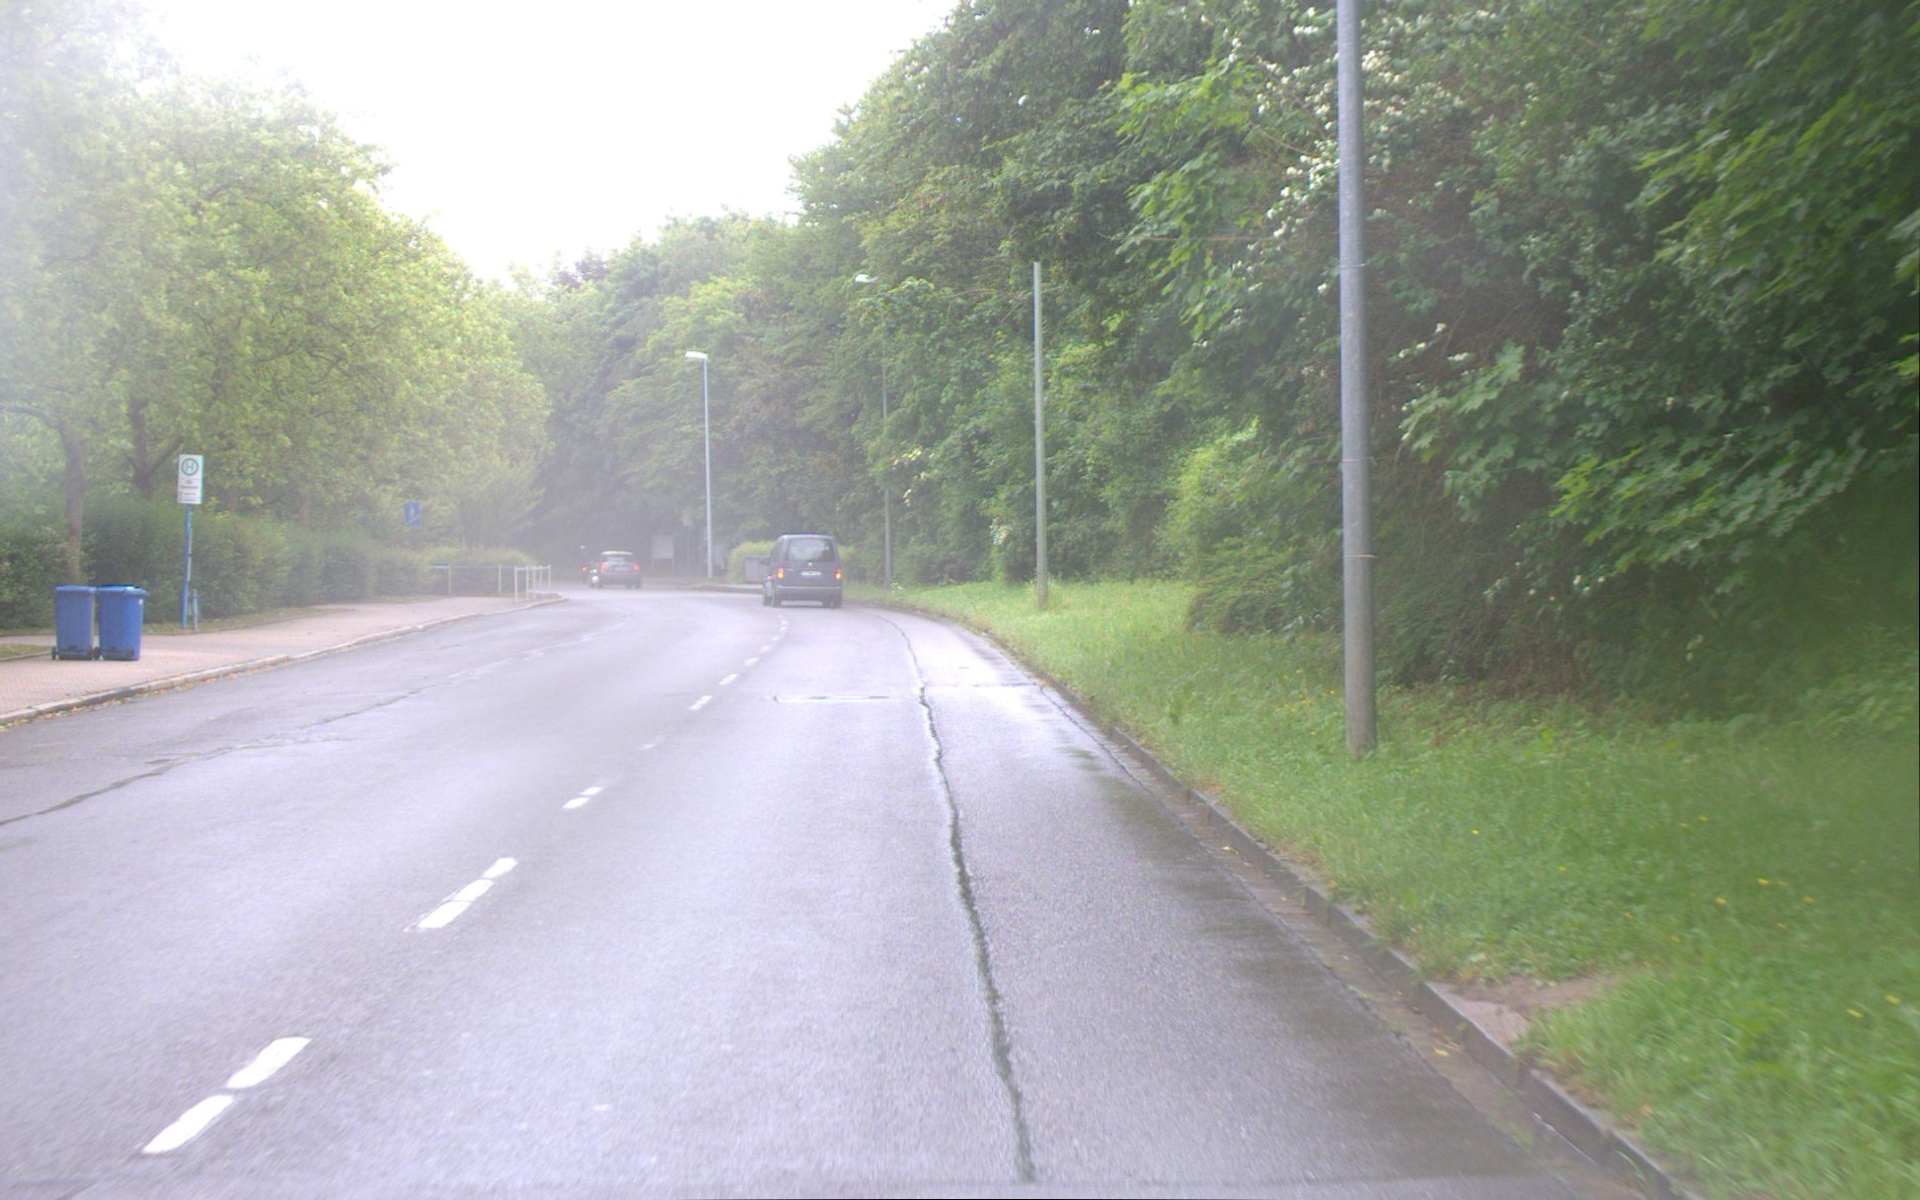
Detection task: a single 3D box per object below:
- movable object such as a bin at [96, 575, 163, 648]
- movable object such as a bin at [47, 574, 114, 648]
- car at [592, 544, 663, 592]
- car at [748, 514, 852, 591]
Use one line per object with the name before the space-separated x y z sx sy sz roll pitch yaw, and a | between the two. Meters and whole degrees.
movable object such as a bin | -12.074 0.166 49.985 0.666 1.023 0.835 -4 2 -32
movable object such as a bin | -12.692 0.155 49.620 0.666 1.023 0.835 -4 2 -32
car | -12.914 -1.257 133.319 1.993 1.766 4.001 -2 1 -16
car | -4.088 -1.222 87.231 1.993 1.787 4.002 1 2 -11
